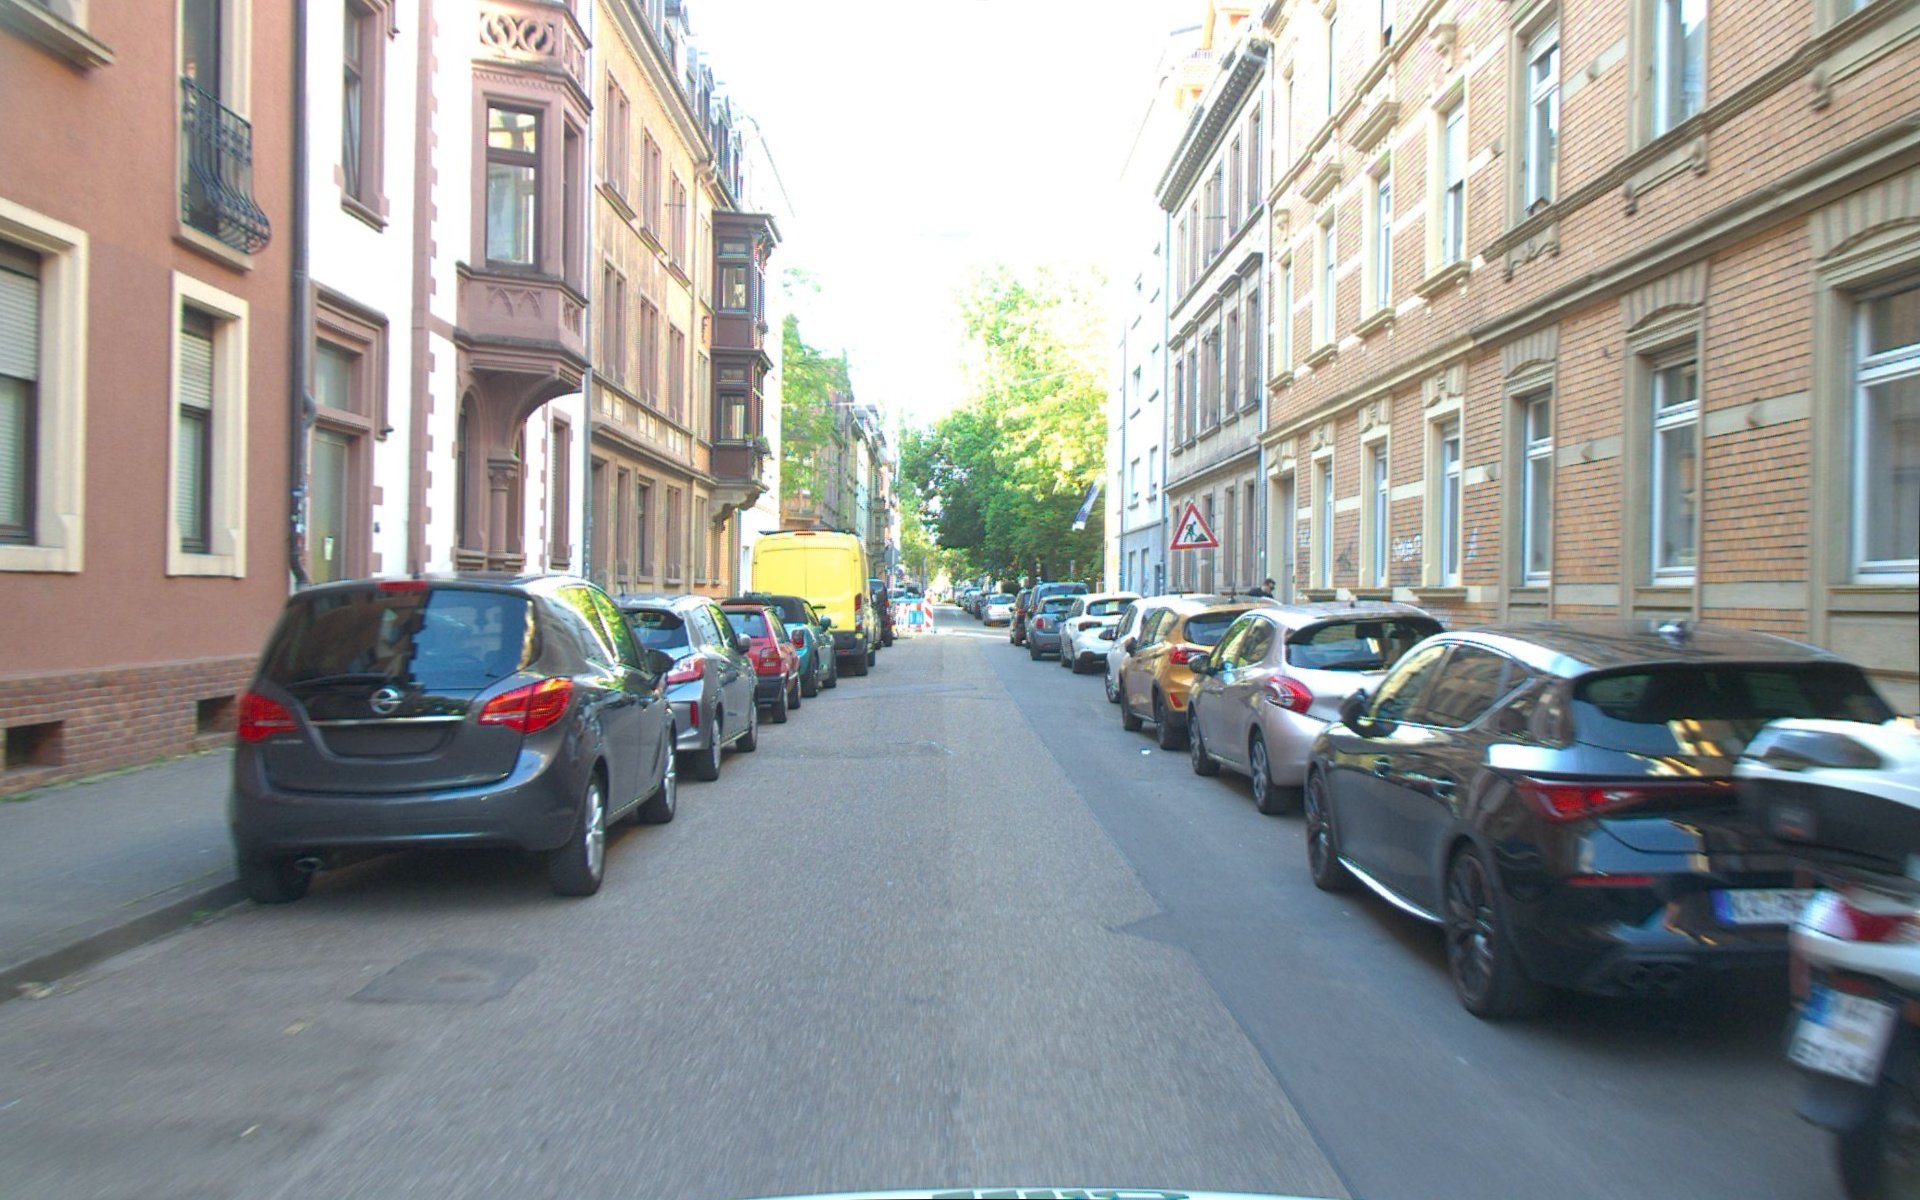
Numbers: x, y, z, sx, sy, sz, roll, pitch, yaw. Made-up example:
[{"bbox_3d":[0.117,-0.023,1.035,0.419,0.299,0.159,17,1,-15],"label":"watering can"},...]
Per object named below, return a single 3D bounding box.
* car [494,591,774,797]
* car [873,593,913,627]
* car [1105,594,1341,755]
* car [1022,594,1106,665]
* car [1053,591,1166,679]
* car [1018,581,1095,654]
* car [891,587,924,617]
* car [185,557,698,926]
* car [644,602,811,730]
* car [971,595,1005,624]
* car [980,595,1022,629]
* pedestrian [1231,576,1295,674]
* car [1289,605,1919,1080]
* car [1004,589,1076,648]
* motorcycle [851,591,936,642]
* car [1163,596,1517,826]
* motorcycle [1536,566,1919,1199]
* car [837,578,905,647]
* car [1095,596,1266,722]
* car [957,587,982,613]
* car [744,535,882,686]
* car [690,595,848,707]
[{"bbox_3d":[-2.689,0.703,14.497,1.659,1.500,3.918,-2,0,-1],"label":"car"},{"bbox_3d":[-3.437,0.514,85.232,1.843,1.737,4.000,-1,0,0],"label":"car"},{"bbox_3d":[2.725,0.719,18.042,1.719,1.471,4.067,-3,0,-2],"label":"car"},{"bbox_3d":[2.441,0.667,39.539,1.718,1.478,4.288,-3,1,1],"label":"car"},{"bbox_3d":[2.965,0.652,33.658,1.718,1.544,4.442,-3,1,-2],"label":"car"},{"bbox_3d":[2.573,0.439,44.978,1.718,1.817,4.723,-2,0,-1],"label":"car"},{"bbox_3d":[-3.862,0.175,123.148,2.262,2.151,5.169,1,0,0],"label":"car"},{"bbox_3d":[-2.645,0.629,9.462,1.745,1.634,4.068,1,0,-2],"label":"car"},{"bbox_3d":[-2.759,0.738,20.281,1.585,1.350,3.611,-2,0,-2],"label":"car"},{"bbox_3d":[1.692,0.574,100.350,1.856,1.654,3.999,1,0,-1],"label":"car"},{"bbox_3d":[1.931,0.548,79.070,1.689,1.549,3.997,0,0,-3],"label":"car"},{"bbox_3d":[5.274,0.432,28.804,0.650,1.659,0.867,0,-1,-42],"label":"pedestrian"},{"bbox_3d":[2.774,0.775,7.357,1.741,1.421,4.317,1,1,0],"label":"car"},{"bbox_3d":[2.356,0.553,49.645,1.862,1.668,4.390,1,0,-1],"label":"car"},{"bbox_3d":[-2.059,0.518,51.511,2.483,1.508,0.895,1,0,-28],"label":"motorcycle"},{"bbox_3d":[2.844,0.748,13.299,1.691,1.442,4.092,-3,1,-2],"label":"car"},{"bbox_3d":[2.710,0.757,4.432,2.192,1.563,0.883,3,0,-27],"label":"motorcycle"},{"bbox_3d":[-2.497,0.335,46.222,1.782,1.797,4.332,1,0,-3],"label":"car"},{"bbox_3d":[2.969,0.742,23.018,1.686,1.506,4.081,-3,0,-1],"label":"car"},{"bbox_3d":[0.851,0.019,150.807,2.117,2.295,4.524,1,0,-2],"label":"car"},{"bbox_3d":[-2.671,0.168,31.464,2.131,2.551,5.877,-2,0,-1],"label":"car"},{"bbox_3d":[-2.769,0.698,24.789,1.683,1.437,3.899,-4,0,2],"label":"car"}]
